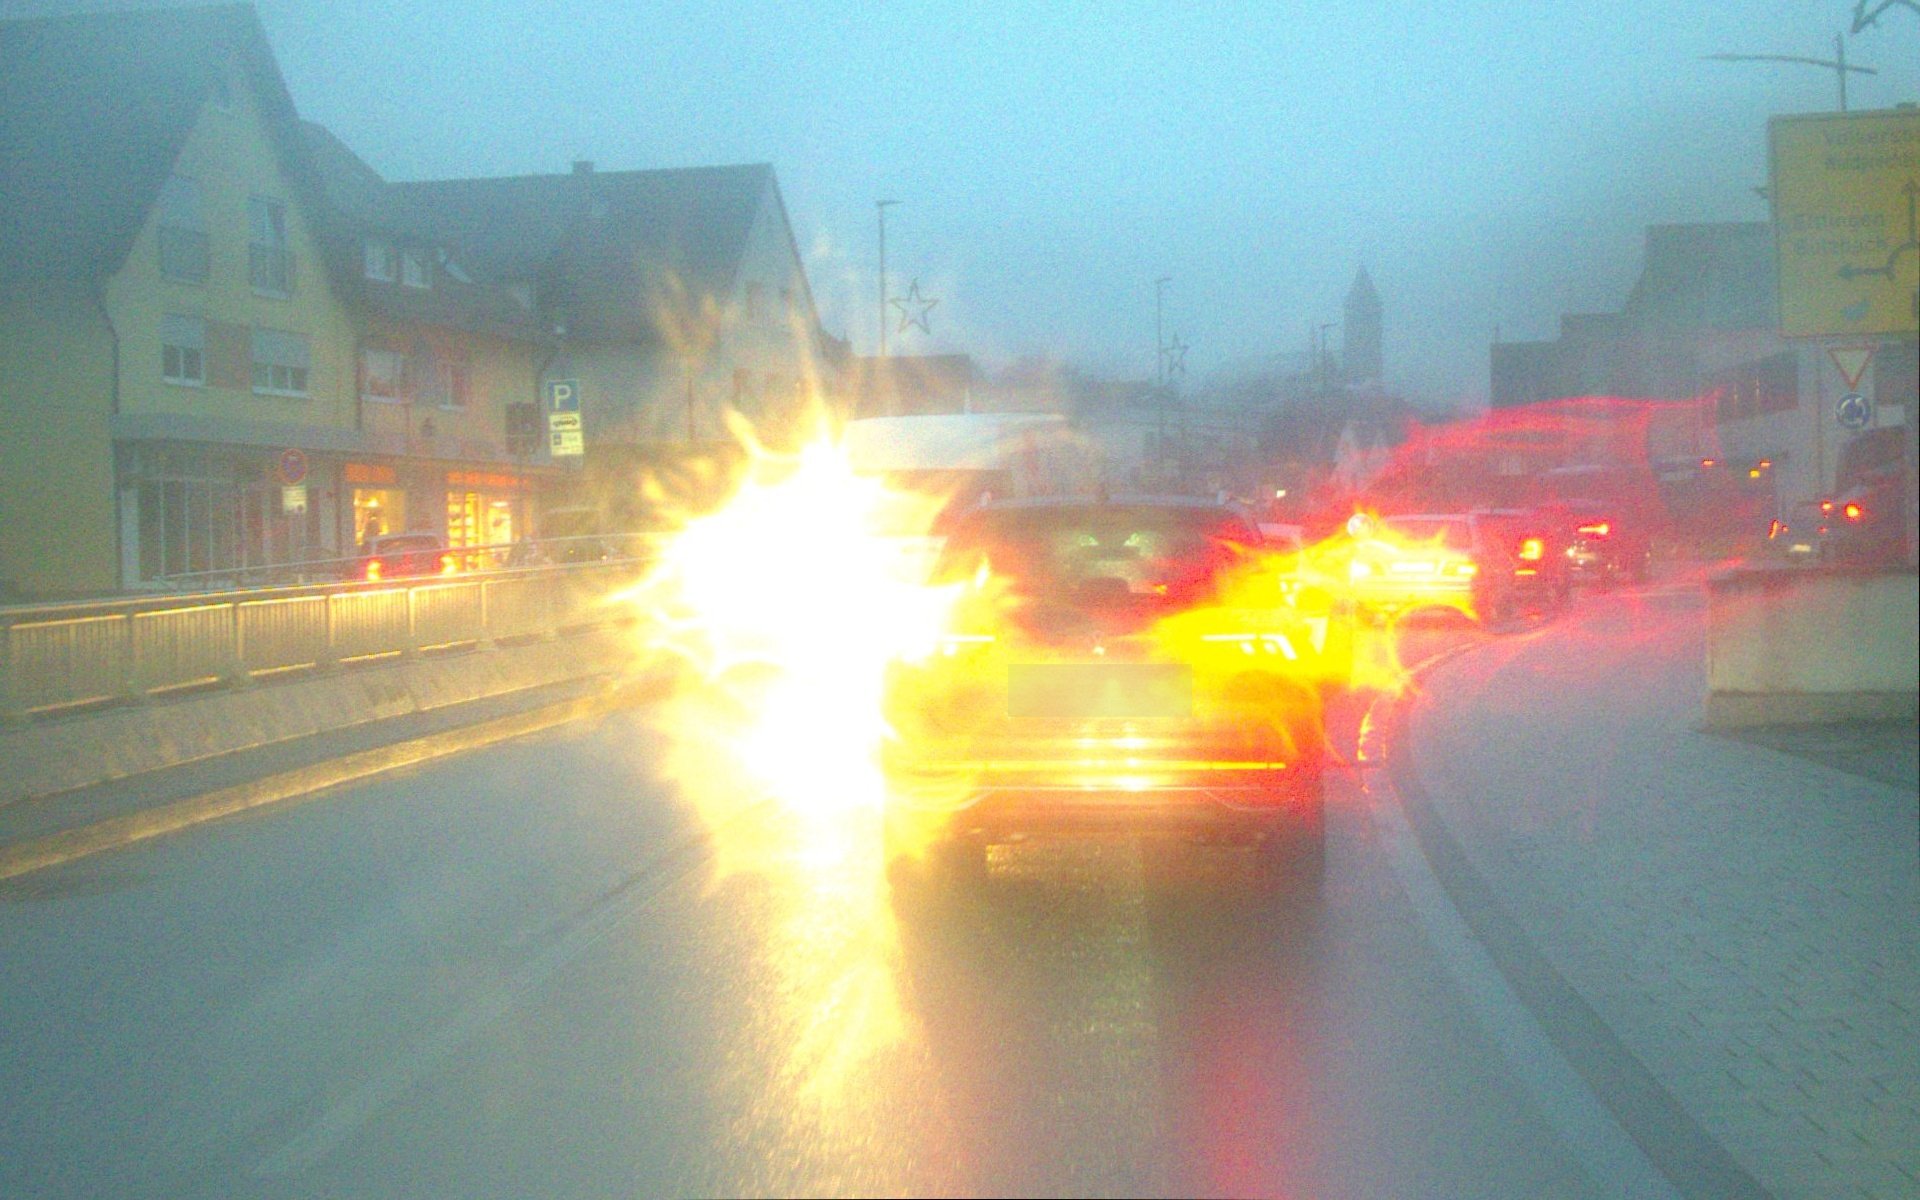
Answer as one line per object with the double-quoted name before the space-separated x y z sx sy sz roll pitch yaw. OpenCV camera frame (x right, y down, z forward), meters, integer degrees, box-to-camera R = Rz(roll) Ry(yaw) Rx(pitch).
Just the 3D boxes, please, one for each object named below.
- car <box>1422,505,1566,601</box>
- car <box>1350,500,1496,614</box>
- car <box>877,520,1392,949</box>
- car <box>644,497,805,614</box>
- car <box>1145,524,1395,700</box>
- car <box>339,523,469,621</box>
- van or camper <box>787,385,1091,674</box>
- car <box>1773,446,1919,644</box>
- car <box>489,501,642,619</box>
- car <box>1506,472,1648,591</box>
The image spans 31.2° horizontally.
"car" 8.462 -0.772 54.253 1.994 1.387 3.998 -1 2 12
"car" 6.093 -0.595 45.310 1.815 1.407 3.999 0 2 7
"car" 0.689 0.465 15.285 1.964 1.589 4.313 0 2 1
"car" -4.180 -0.801 60.440 2.037 1.919 4.058 -2 2 -15
"car" 2.807 0.059 30.468 1.683 1.448 3.998 1 1 13
"car" -9.801 -0.519 60.409 1.821 1.607 4.058 -2 2 -15
"van or camper" -0.077 -0.757 35.743 2.241 2.660 6.554 -2 1 7
"car" 9.903 -0.728 31.930 4.176 1.633 1.804 -8 1 5
"car" -6.917 -0.719 59.972 2.037 1.919 4.058 -2 2 -15
"car" 11.436 -1.275 63.989 2.158 1.984 4.498 -5 1 7
